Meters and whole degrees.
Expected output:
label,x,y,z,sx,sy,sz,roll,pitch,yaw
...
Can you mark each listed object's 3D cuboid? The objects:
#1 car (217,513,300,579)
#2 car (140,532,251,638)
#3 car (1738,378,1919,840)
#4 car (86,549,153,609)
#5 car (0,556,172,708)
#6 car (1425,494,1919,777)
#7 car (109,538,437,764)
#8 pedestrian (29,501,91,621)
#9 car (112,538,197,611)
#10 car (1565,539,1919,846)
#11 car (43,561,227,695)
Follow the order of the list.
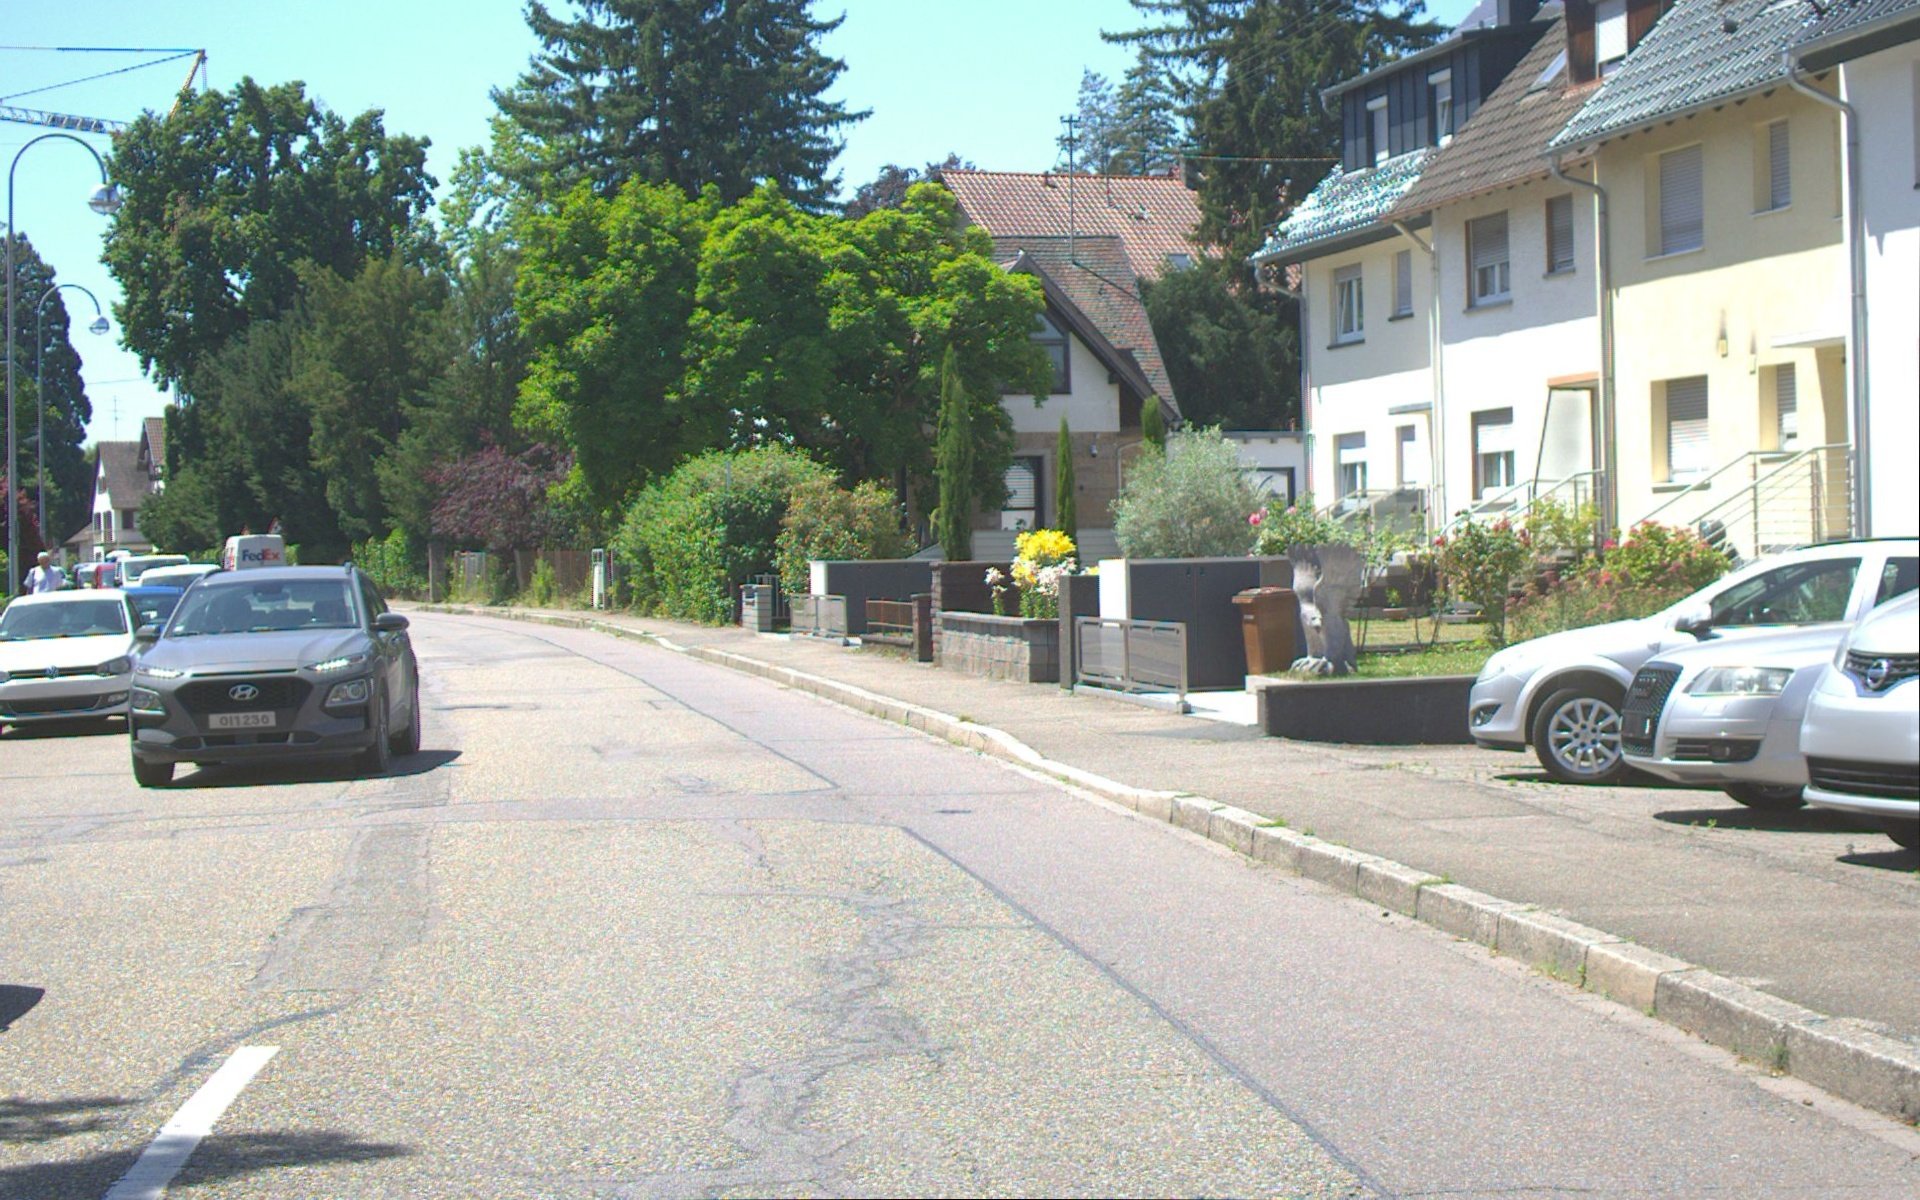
label,x,y,z,sx,sy,sz,roll,pitch,yaw
car,-25.786,-1.970,126.254,2.143,2.307,4.854,-3,2,-20
car,-13.497,-0.276,60.869,1.722,1.730,3.888,-3,1,-11
car,5.723,0.094,14.710,4.289,1.824,1.740,2,1,-15
car,-25.813,-0.661,105.536,1.647,1.746,4.355,-3,1,-17
car,-9.261,0.298,36.061,1.578,1.418,3.942,-3,1,-9
car,5.088,0.214,20.216,4.296,1.542,1.754,2,-1,25
car,-5.110,0.325,26.087,1.740,1.500,4.143,-3,1,-2
pedestrian,-14.587,-0.631,55.762,0.689,1.883,1.019,4,-1,-5
car,-21.733,-0.707,92.662,1.886,1.875,4.982,-2,1,-17
car,5.562,0.487,17.201,4.639,1.404,1.769,2,1,-6
car,-9.994,0.295,41.911,1.768,1.434,4.363,-3,1,-9
